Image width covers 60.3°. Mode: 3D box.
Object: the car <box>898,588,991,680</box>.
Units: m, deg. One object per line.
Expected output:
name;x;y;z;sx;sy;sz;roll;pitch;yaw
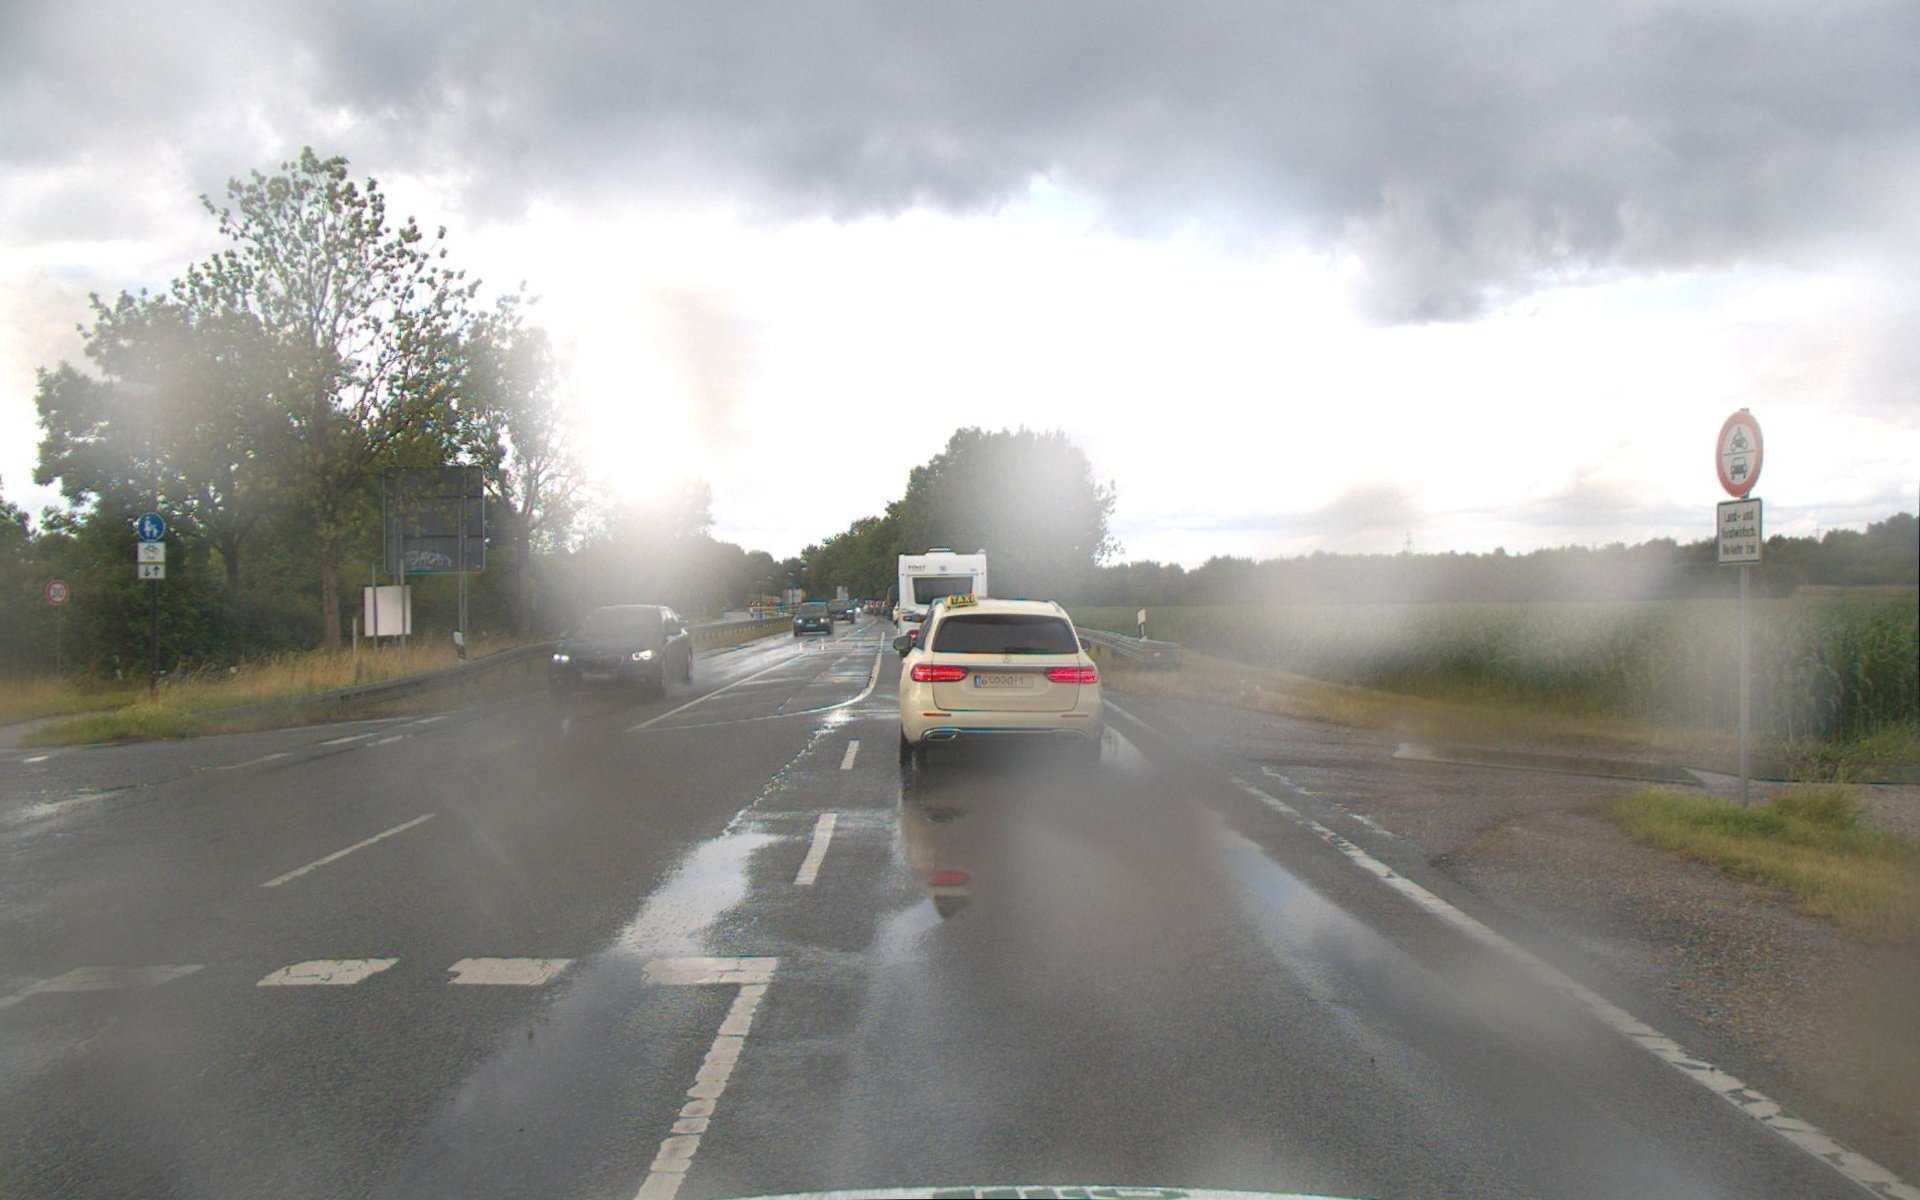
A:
car;-0.321;0.585;30.865;1.594;1.556;3.931;-1;0;-2

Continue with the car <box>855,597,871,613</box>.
car;-12.141;0.614;206.964;1.954;2.049;3.997;-1;0;-4

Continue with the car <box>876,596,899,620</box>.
car;-6.415;0.709;145.762;1.954;2.049;3.996;-1;0;-4

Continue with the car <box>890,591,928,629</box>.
car;-3.122;0.587;100.864;2.202;2.237;5.409;-1;0;-3

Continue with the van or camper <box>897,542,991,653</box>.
van or camper;-0.481;-0.095;44.100;2.303;2.727;5.766;-1;0;-2

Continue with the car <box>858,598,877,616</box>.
car;-10.468;0.797;186.943;1.955;2.049;3.995;-1;0;-5

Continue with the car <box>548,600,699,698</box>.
car;-5.572;0.764;27.876;1.730;1.463;4.412;-2;0;-2

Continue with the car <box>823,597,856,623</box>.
car;-8.102;0.647;111.575;1.904;1.608;4.442;-2;0;-1

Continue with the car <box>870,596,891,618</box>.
car;-7.737;0.661;160.924;1.954;2.049;3.996;-1;0;-4

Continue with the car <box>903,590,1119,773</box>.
car;0.401;0.677;15.792;1.788;1.511;4.144;0;0;-1

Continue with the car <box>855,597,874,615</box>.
car;-11.433;0.735;197.761;1.955;2.087;3.994;-1;0;-7

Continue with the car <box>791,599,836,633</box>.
car;-6.689;0.706;75.847;1.677;1.430;3.814;-2;0;0
